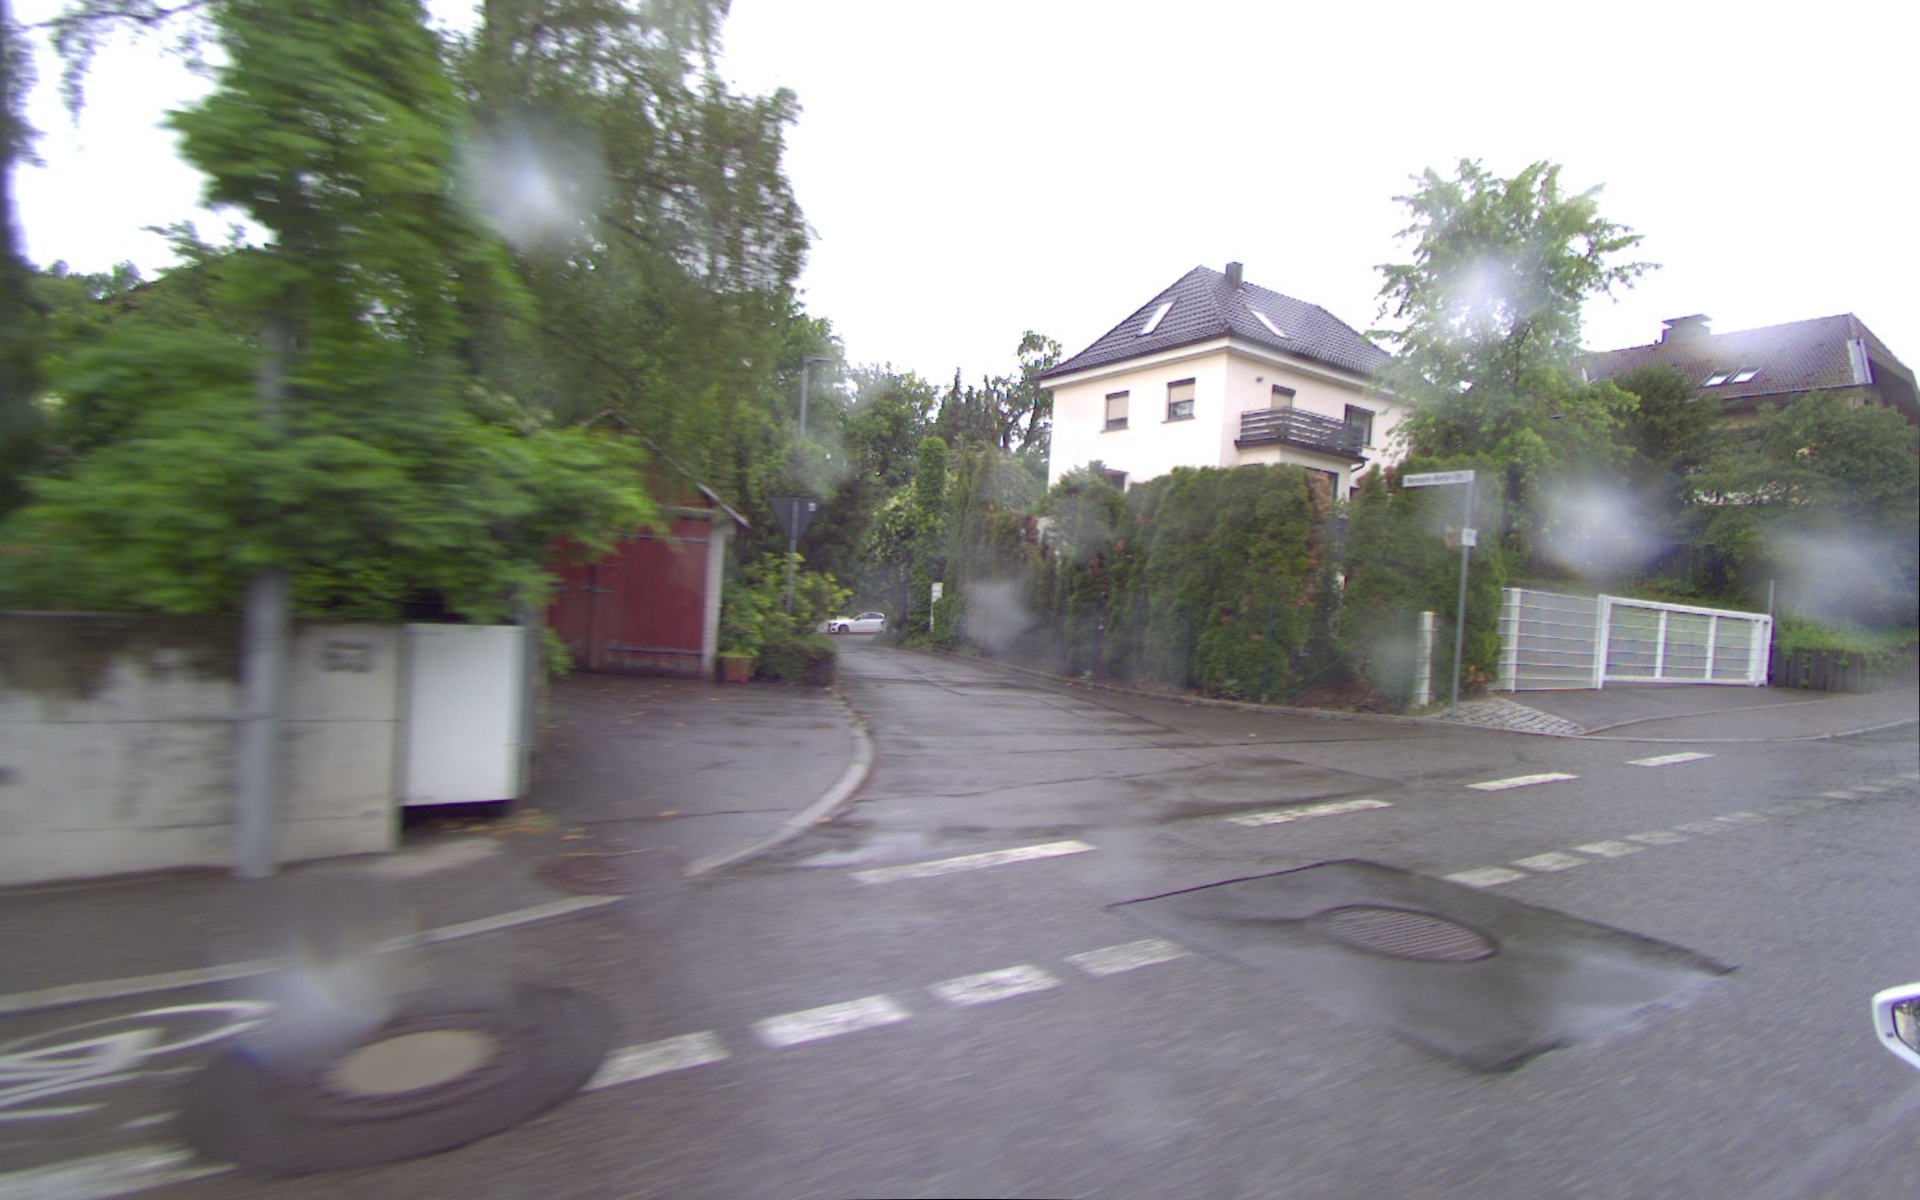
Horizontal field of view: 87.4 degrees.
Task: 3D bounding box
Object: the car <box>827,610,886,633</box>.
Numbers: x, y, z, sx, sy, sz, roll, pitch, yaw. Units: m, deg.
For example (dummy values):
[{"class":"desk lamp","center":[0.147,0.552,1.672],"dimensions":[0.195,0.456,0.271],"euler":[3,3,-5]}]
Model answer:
[{"class":"car","center":[-7.037,1.481,68.152],"dimensions":[3.694,1.478,1.718],"euler":[1,0,-16]}]
